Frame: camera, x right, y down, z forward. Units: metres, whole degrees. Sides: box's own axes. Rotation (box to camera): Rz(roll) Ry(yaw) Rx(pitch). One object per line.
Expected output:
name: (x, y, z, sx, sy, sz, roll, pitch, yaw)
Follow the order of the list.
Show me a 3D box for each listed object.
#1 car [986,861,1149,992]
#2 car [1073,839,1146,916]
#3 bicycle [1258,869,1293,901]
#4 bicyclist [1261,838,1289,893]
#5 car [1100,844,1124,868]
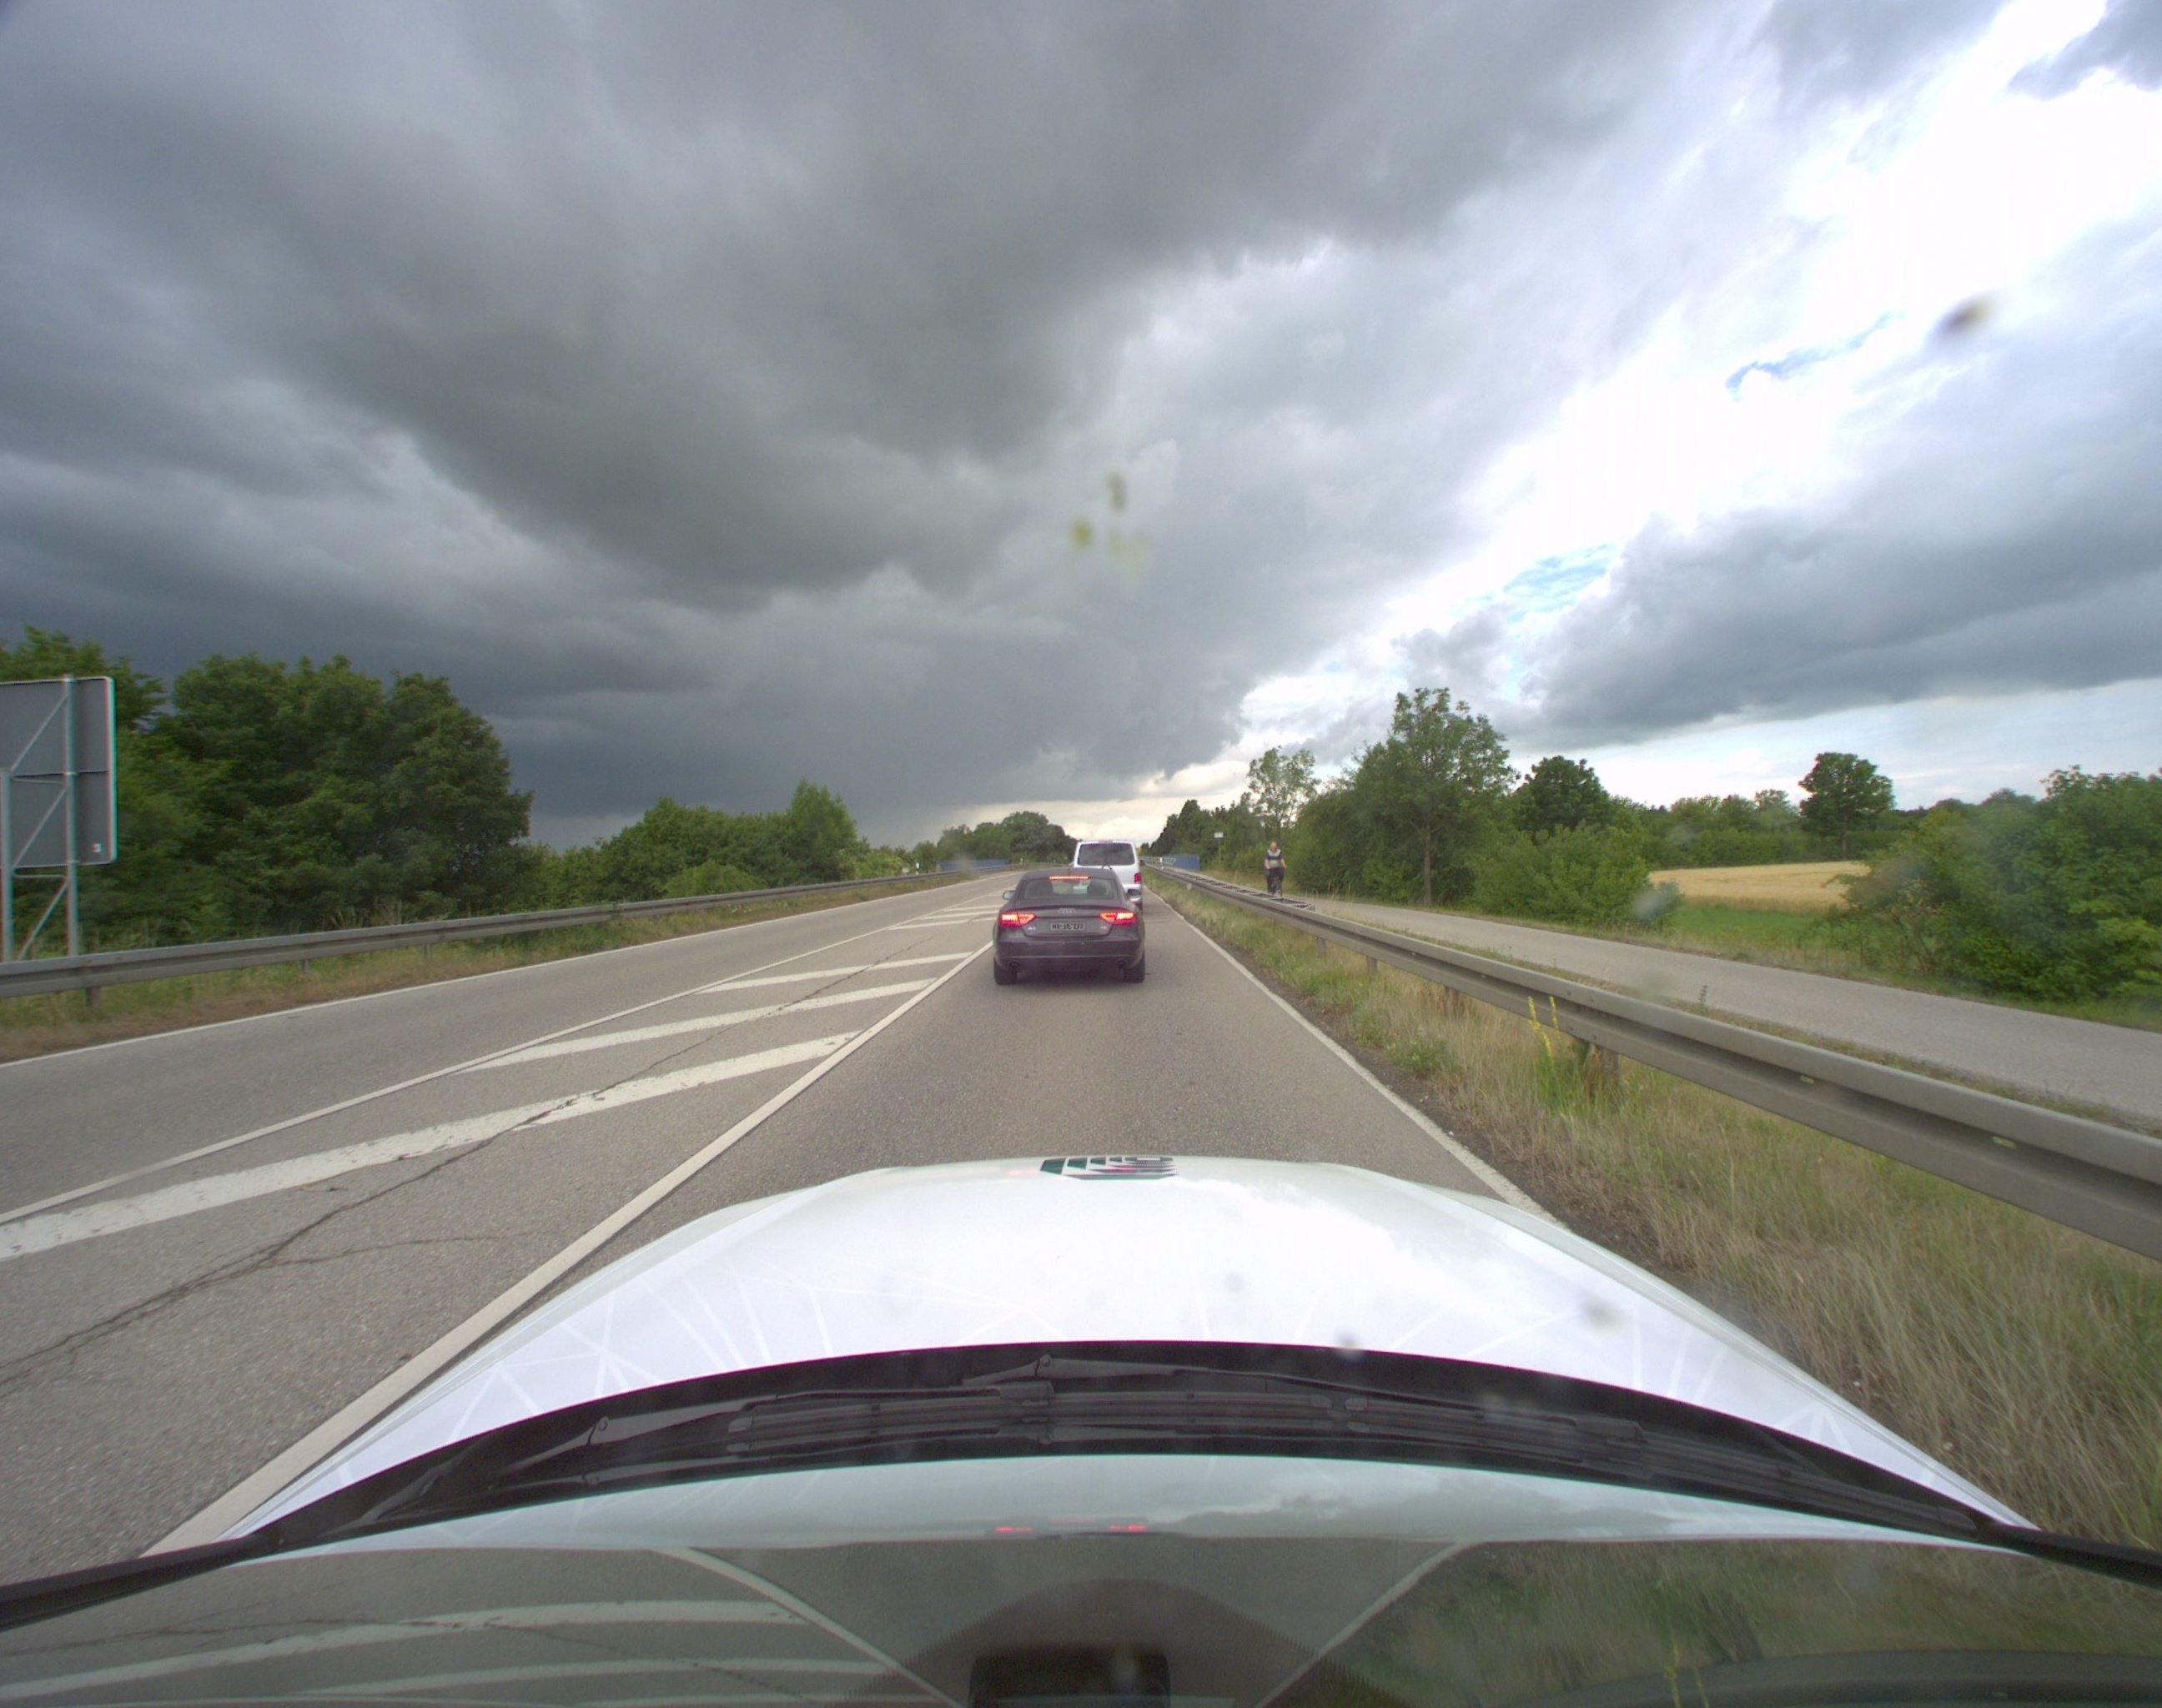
car: (-0.083, 0.821, 10.961, 1.779, 1.424, 4.001, -1, -1, 2)
car: (0.776, 0.611, 22.184, 1.779, 1.890, 4.001, -1, -1, 2)
bicycle: (6.074, 0.959, 25.524, 0.663, 0.920, 1.831, -2, -1, 2)
bicyclist: (6.049, 0.353, 25.431, 0.644, 1.645, 0.866, -2, -1, 2)
car: (3.367, 0.200, 87.380, 2.438, 2.504, 5.044, -1, 0, 2)
